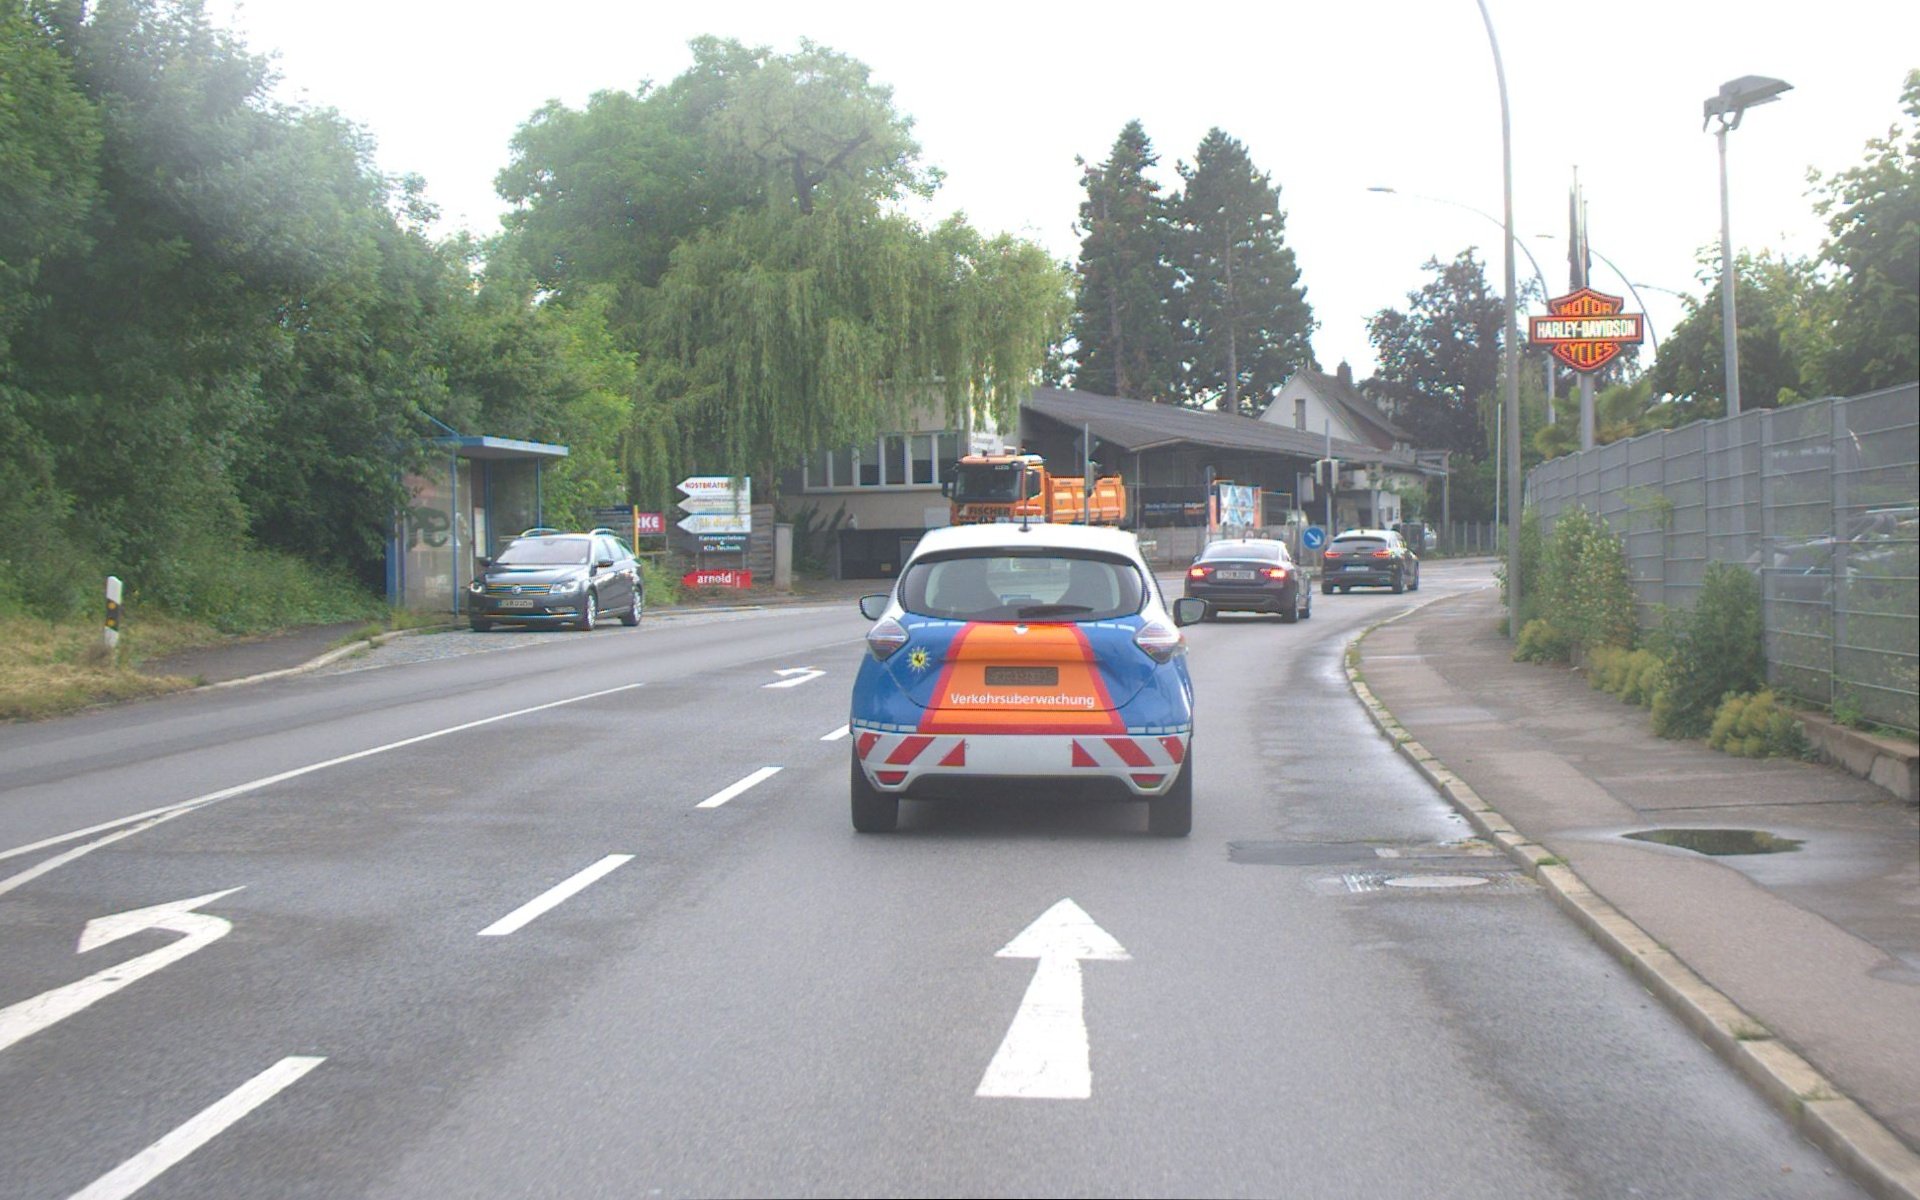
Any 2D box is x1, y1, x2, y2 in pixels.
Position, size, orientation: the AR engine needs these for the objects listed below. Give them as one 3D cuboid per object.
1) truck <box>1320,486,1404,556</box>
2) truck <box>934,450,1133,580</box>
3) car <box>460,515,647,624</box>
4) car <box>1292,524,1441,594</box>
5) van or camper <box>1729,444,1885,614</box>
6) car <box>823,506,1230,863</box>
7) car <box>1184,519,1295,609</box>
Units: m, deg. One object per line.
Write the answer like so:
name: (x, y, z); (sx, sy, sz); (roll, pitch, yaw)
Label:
truck: (17.812, -3.463, 151.979); (2.397, 2.917, 5.951); (2, 1, 19)
truck: (2.256, -2.404, 100.291); (2.700, 3.400, 9.061); (2, 0, 22)
car: (-5.965, -0.421, 50.971); (1.994, 1.469, 4.700); (2, 0, 2)
car: (9.099, -0.900, 76.750); (1.996, 1.415, 3.994); (2, 0, 27)
van or camper: (13.871, -1.170, 56.045); (2.043, 2.584, 6.584); (-1, 1, 17)
car: (0.460, 0.362, 18.314); (1.889, 1.626, 4.000); (2, 1, 4)
car: (4.659, -0.568, 57.149); (1.721, 1.371, 3.933); (2, 0, 5)
